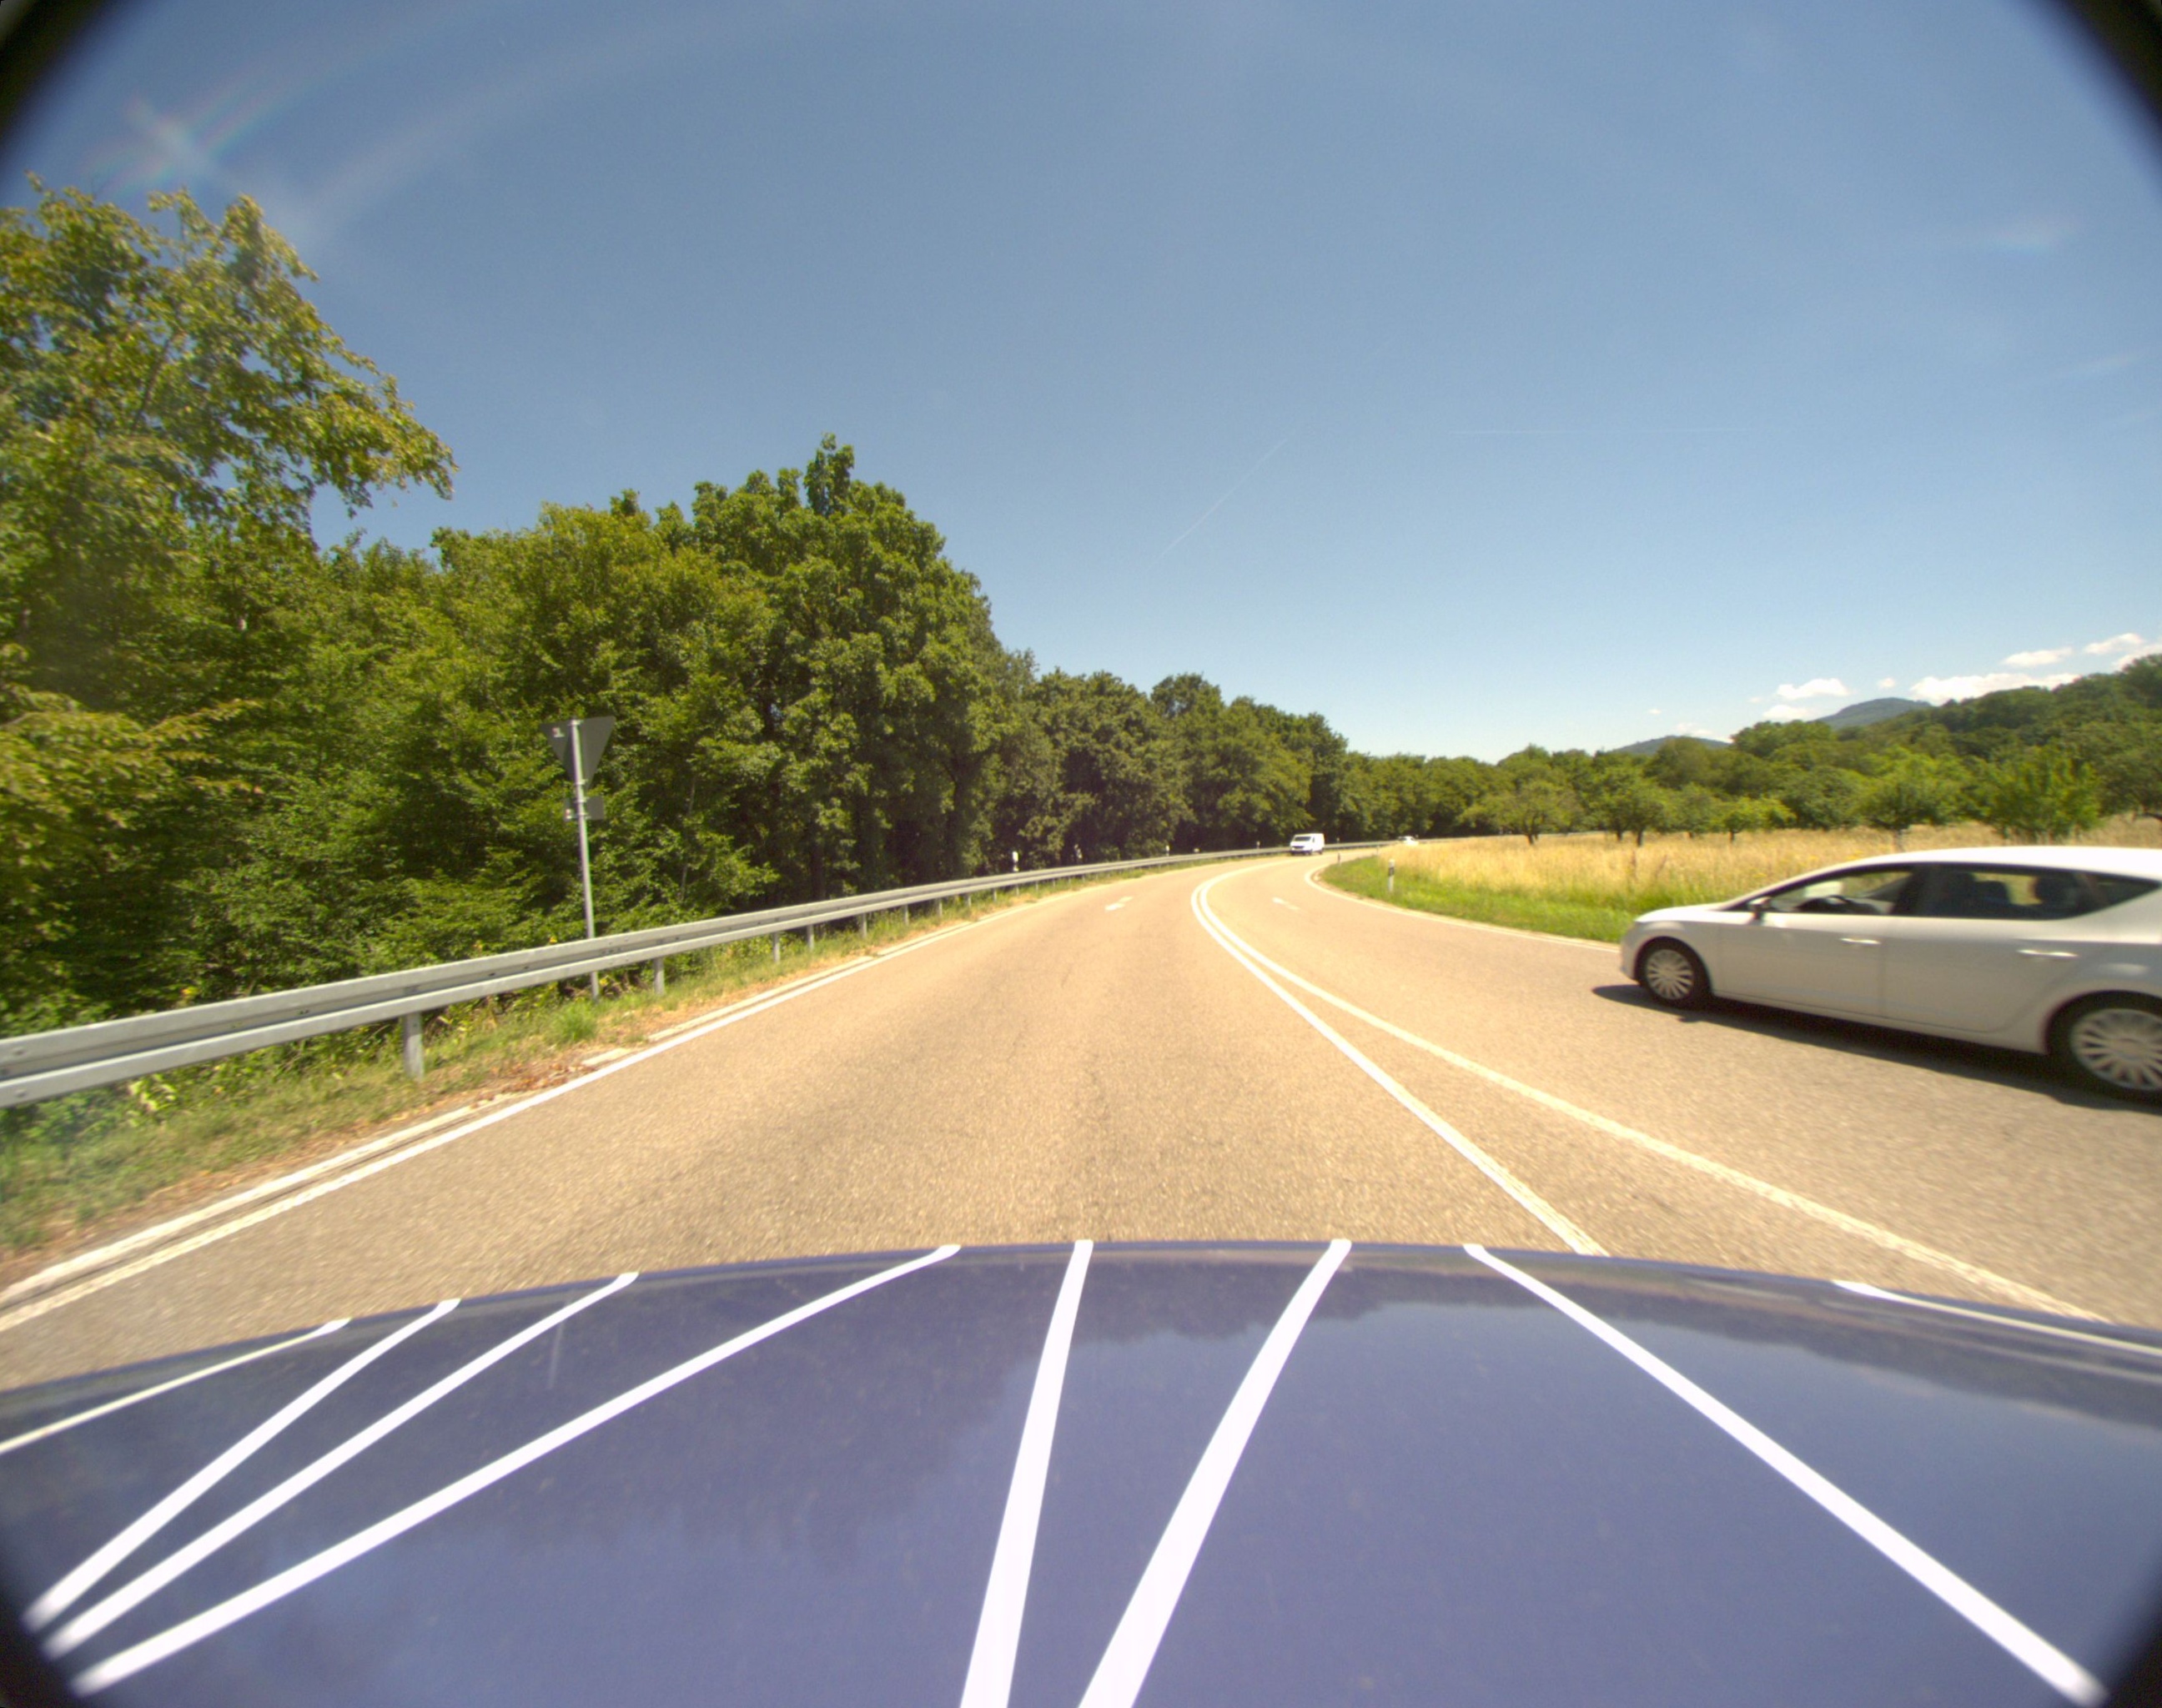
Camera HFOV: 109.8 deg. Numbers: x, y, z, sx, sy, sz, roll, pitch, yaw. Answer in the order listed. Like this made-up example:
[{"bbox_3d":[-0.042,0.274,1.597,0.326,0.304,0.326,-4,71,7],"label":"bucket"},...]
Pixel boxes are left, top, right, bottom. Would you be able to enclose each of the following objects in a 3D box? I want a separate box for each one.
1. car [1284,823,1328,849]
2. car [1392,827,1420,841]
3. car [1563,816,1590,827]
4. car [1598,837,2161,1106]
[{"bbox_3d":[21.253,-1.751,71.630,2.219,2.023,5.435,4,6,36],"label":"car"},{"bbox_3d":[36.869,-2.285,86.089,1.822,1.499,4.179,2,5,39],"label":"car"},{"bbox_3d":[74.725,-4.880,114.550,4.407,1.451,1.822,-4,6,-36],"label":"car"},{"bbox_3d":[6.317,0.604,5.464,1.853,1.416,4.142,-1,1,-13],"label":"car"}]
